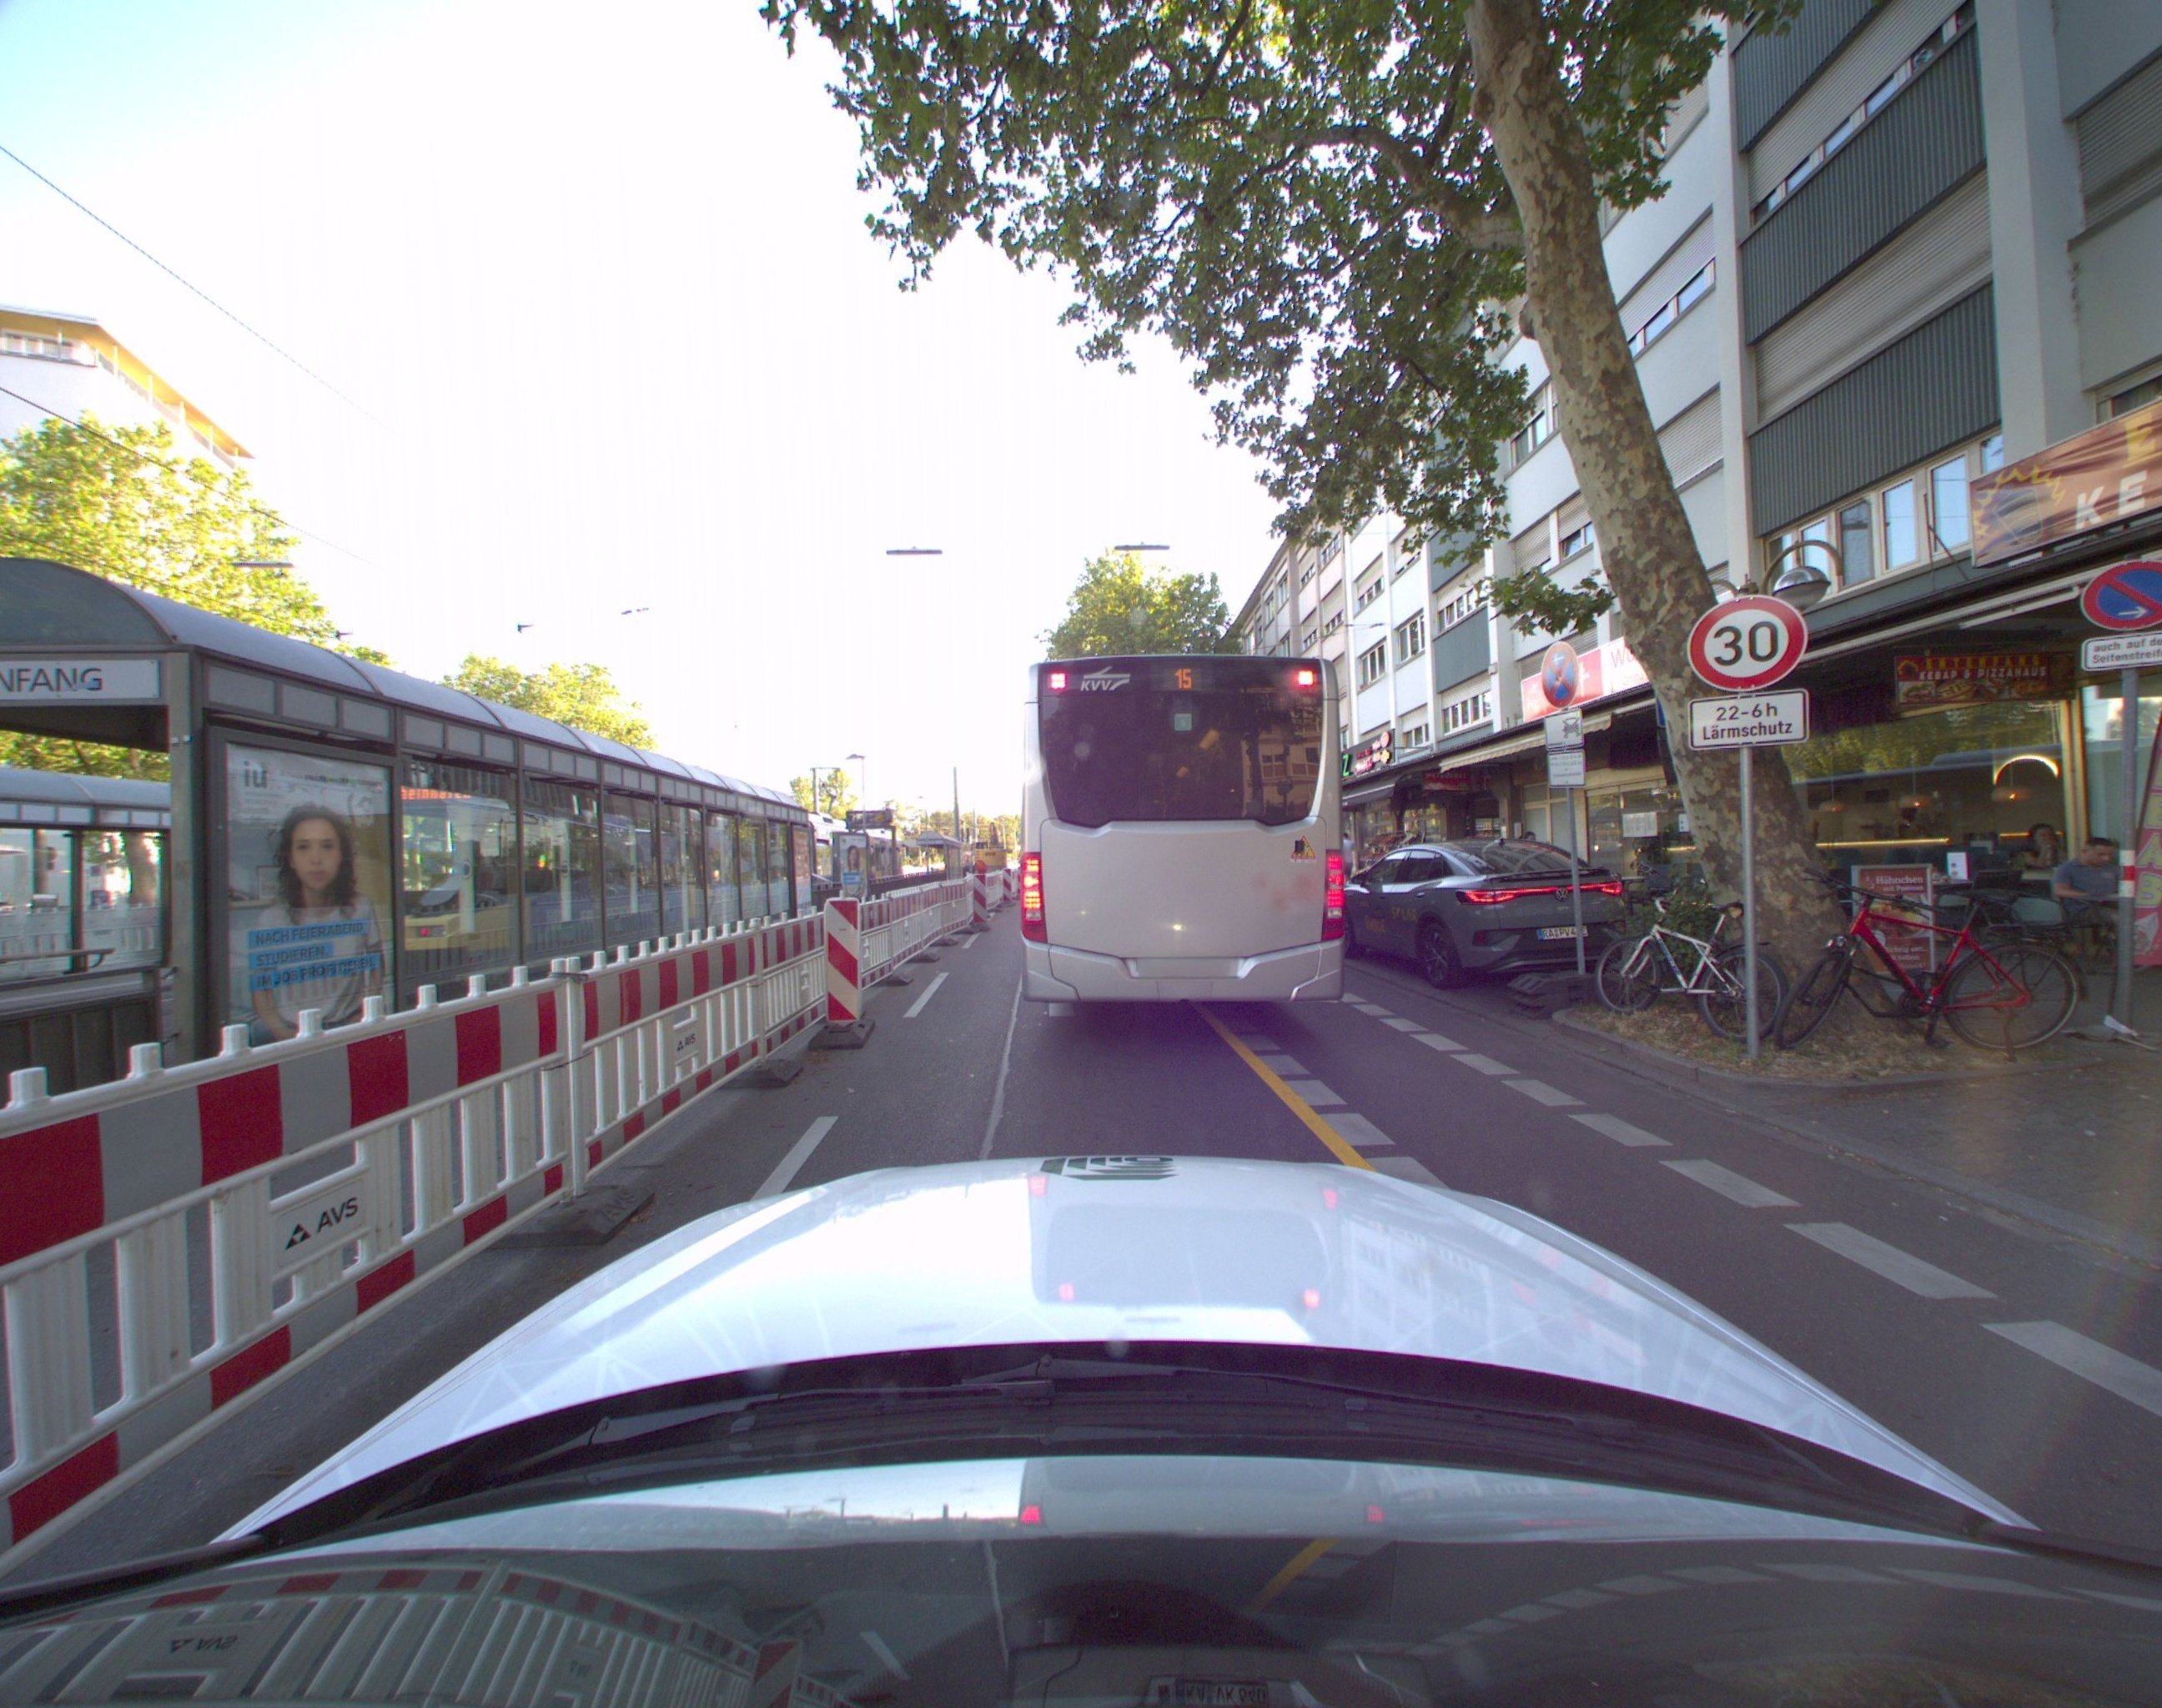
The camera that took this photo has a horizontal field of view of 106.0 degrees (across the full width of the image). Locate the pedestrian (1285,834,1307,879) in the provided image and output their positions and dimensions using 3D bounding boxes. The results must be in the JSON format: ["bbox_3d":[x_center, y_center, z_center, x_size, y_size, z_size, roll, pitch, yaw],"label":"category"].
[{"bbox_3d":[9.037,0.100,34.244,0.684,1.836,0.785,-2,-1,-1],"label":"pedestrian"}]

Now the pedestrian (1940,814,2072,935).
[{"bbox_3d":[10.974,0.230,9.672,0.836,1.333,0.963,-2,-1,-39],"label":"pedestrian"}]

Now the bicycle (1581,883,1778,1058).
[{"bbox_3d":[4.576,0.834,6.352,0.550,1.155,1.446,-2,-1,6],"label":"bicycle"}]

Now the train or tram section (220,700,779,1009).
[{"bbox_3d":[-8.976,0.035,15.434,2.681,3.533,11.756,-2,0,-3],"label":"train or tram section"}]

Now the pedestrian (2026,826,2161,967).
[{"bbox_3d":[9.586,0.379,7.649,0.555,1.245,0.692,-4,0,8],"label":"pedestrian"}]

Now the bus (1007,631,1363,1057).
[{"bbox_3d":[0.886,-0.053,9.991,2.601,3.126,7.996,0,0,2],"label":"bus"}]

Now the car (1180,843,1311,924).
[{"bbox_3d":[3.763,0.619,19.471,1.989,1.582,4.364,-4,0,-3],"label":"car"}]

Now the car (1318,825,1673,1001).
[{"bbox_3d":[4.722,0.572,10.182,1.989,1.582,4.364,-4,0,-3],"label":"car"}]

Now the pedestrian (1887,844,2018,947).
[{"bbox_3d":[9.859,0.448,9.225,0.643,1.081,0.945,-2,-1,-39],"label":"pedestrian"}]

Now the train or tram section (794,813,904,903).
[{"bbox_3d":[-10.616,0.220,38.680,2.682,3.533,11.562,-2,0,-5],"label":"train or tram section"}]

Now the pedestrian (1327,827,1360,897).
[{"bbox_3d":[7.782,0.243,24.151,0.683,2.014,0.786,-2,-1,1],"label":"pedestrian"}]

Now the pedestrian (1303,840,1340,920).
[{"bbox_3d":[5.189,0.552,17.556,0.658,1.666,0.603,-4,-1,18],"label":"pedestrian"}]

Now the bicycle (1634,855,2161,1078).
[{"bbox_3d":[5.061,0.720,5.211,2.370,1.155,0.557,-7,-2,14],"label":"bicycle"}]

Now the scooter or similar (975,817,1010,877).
[{"bbox_3d":[-7.010,-0.500,65.050,2.465,4.471,5.961,-2,0,-5],"label":"scooter or similar"}]

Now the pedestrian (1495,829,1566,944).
[{"bbox_3d":[6.755,0.474,12.272,0.580,1.646,0.796,-2,0,0],"label":"pedestrian"}]

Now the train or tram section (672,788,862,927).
[{"bbox_3d":[-9.821,0.138,27.229,2.682,3.558,11.560,-2,0,-5],"label":"train or tram section"}]
